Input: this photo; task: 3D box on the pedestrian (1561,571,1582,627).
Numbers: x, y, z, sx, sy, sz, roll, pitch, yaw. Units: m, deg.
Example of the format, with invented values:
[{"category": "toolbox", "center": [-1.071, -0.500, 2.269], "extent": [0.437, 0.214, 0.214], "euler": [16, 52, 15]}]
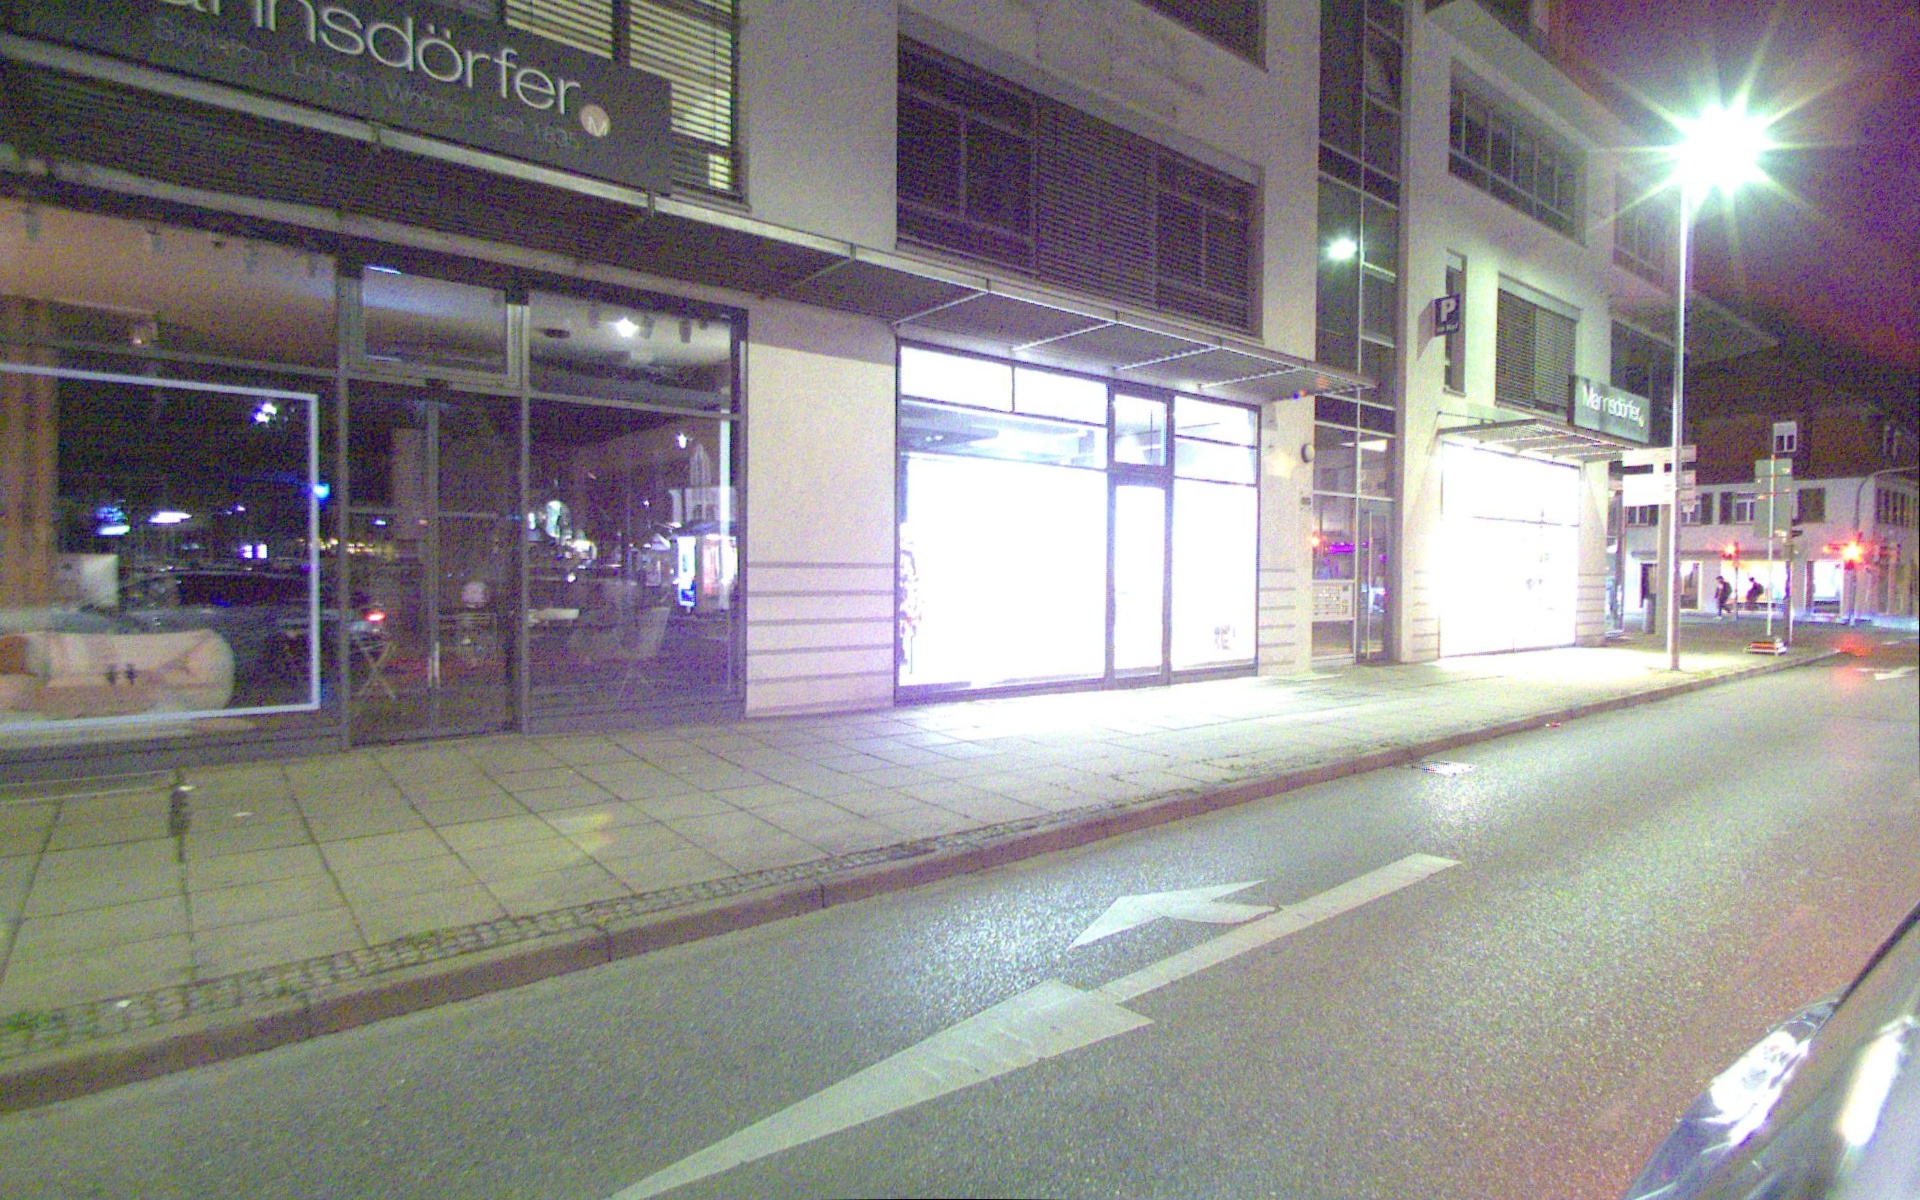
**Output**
[{"category": "pedestrian", "center": [18.812, -0.042, 31.126], "extent": [0.478, 1.708, 0.407], "euler": [0, 0, -36]}]

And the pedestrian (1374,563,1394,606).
[{"category": "pedestrian", "center": [17.472, -0.645, 41.670], "extent": [0.556, 1.738, 0.525], "euler": [0, 0, -34]}]

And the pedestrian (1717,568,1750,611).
[{"category": "pedestrian", "center": [31.984, -0.432, 41.848], "extent": [0.635, 1.755, 0.877], "euler": [0, 2, -37]}]
